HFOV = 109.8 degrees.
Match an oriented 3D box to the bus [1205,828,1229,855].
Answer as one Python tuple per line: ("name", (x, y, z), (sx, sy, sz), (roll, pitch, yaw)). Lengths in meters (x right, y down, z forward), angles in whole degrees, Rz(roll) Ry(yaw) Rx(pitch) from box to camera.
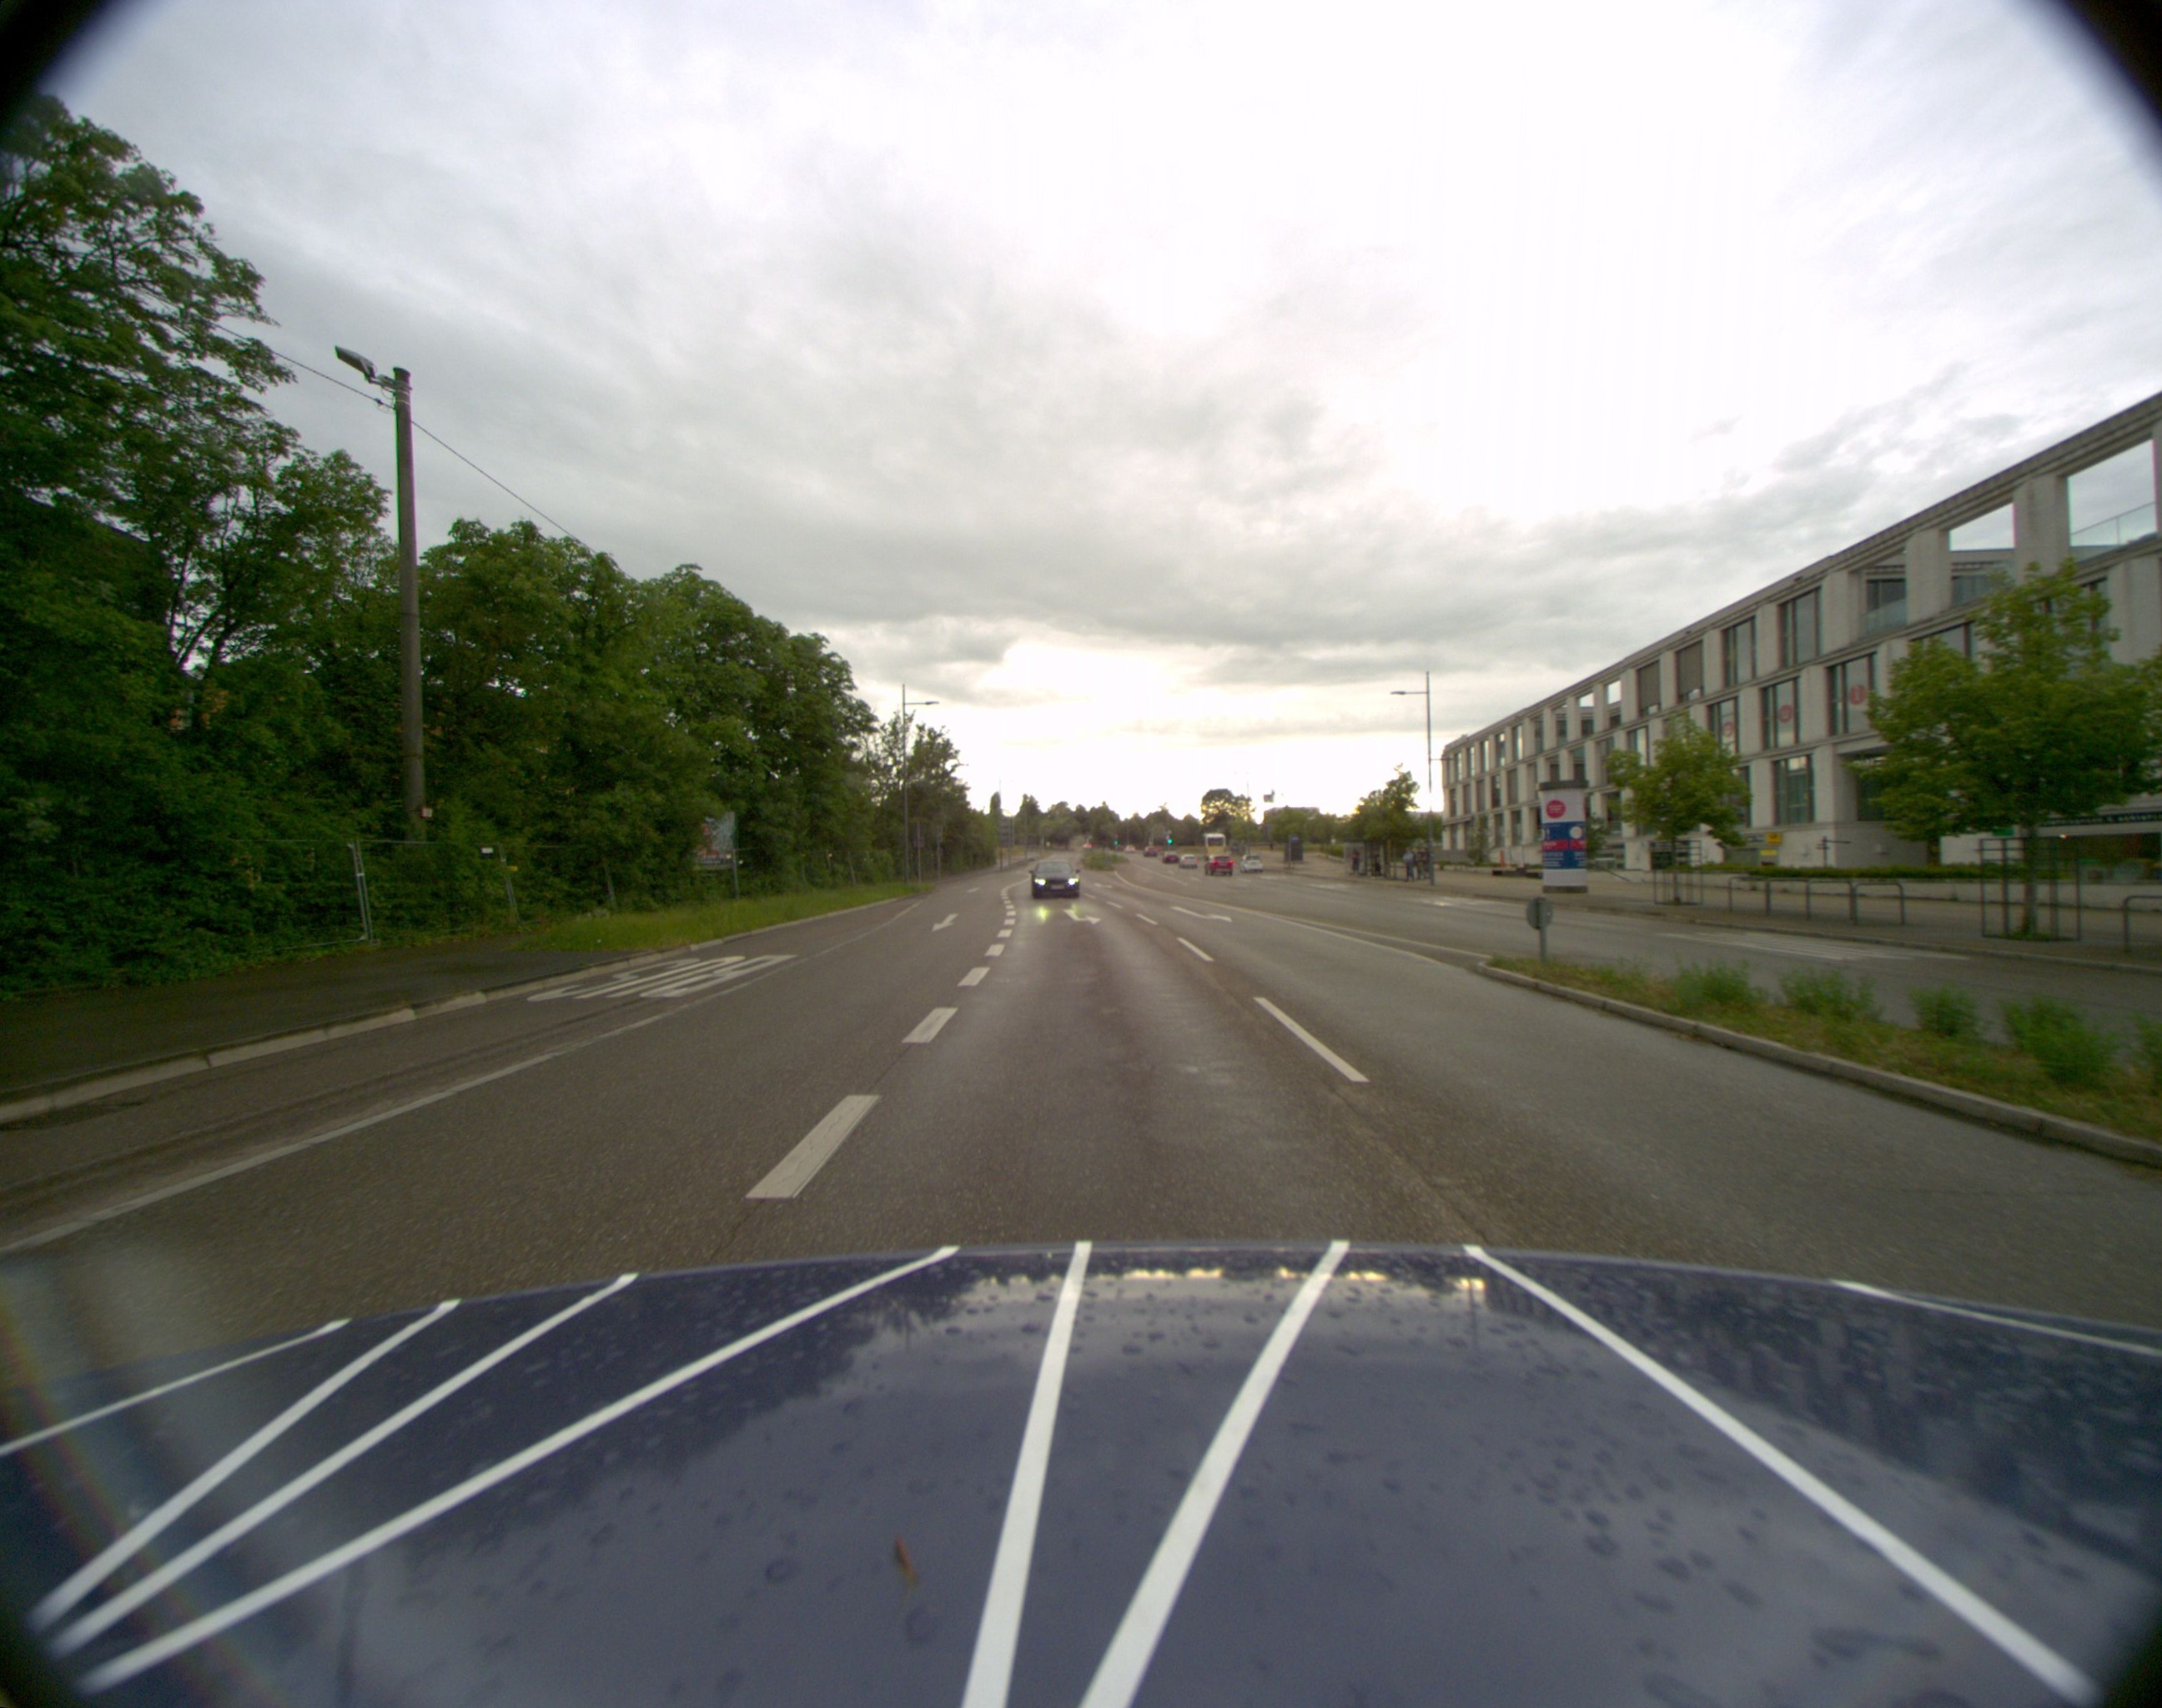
("bus", (18.663, -1.789, 104.762), (2.827, 3.453, 8.233), (-2, 2, 8))

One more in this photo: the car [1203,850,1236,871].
("car", (11.328, 0.499, 62.310), (1.858, 1.673, 4.737), (1, 0, 1))

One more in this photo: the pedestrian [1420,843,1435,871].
("pedestrian", (21.999, 0.167, 48.231), (0.600, 1.752, 0.857), (-1, 1, 3))

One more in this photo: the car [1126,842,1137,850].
("car", (10.232, -1.598, 153.625), (1.878, 1.422, 4.175), (1, 1, 1))

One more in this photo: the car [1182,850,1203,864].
("car", (12.020, 0.285, 81.929), (1.767, 1.408, 3.878), (1, 0, 1))

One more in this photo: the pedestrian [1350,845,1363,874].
("pedestrian", (17.718, 0.331, 48.902), (0.508, 1.832, 0.755), (-1, 1, 0))

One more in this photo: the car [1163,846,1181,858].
("car", (11.635, -0.290, 97.206), (1.836, 1.408, 4.465), (1, 0, 1))

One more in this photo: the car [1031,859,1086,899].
("car", (-0.973, 0.944, 30.276), (1.990, 1.391, 4.175), (-2, 0, -4))

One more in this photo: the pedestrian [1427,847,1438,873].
("pedestrian", (20.149, 0.330, 43.562), (0.427, 1.443, 0.510), (-1, 1, 1))

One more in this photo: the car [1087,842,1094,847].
("car", (2.649, -2.651, 212.192), (1.998, 1.410, 4.512), (-2, 1, 1))

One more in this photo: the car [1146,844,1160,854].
("car", (11.654, -0.800, 122.688), (1.836, 1.563, 4.592), (1, 1, 1))

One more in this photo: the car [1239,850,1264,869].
("car", (15.055, 0.469, 67.205), (1.617, 1.499, 2.972), (-2, 1, 1))

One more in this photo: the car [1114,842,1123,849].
("car", (8.462, -1.927, 171.246), (1.851, 1.454, 3.866), (0, 1, 1))

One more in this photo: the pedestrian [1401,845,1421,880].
("pedestrian", (17.597, 0.424, 40.538), (0.755, 1.832, 0.746), (-1, 1, 3))

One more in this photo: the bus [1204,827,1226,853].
("bus", (20.013, -2.180, 113.746), (2.827, 3.453, 9.976), (-2, 2, 8))
